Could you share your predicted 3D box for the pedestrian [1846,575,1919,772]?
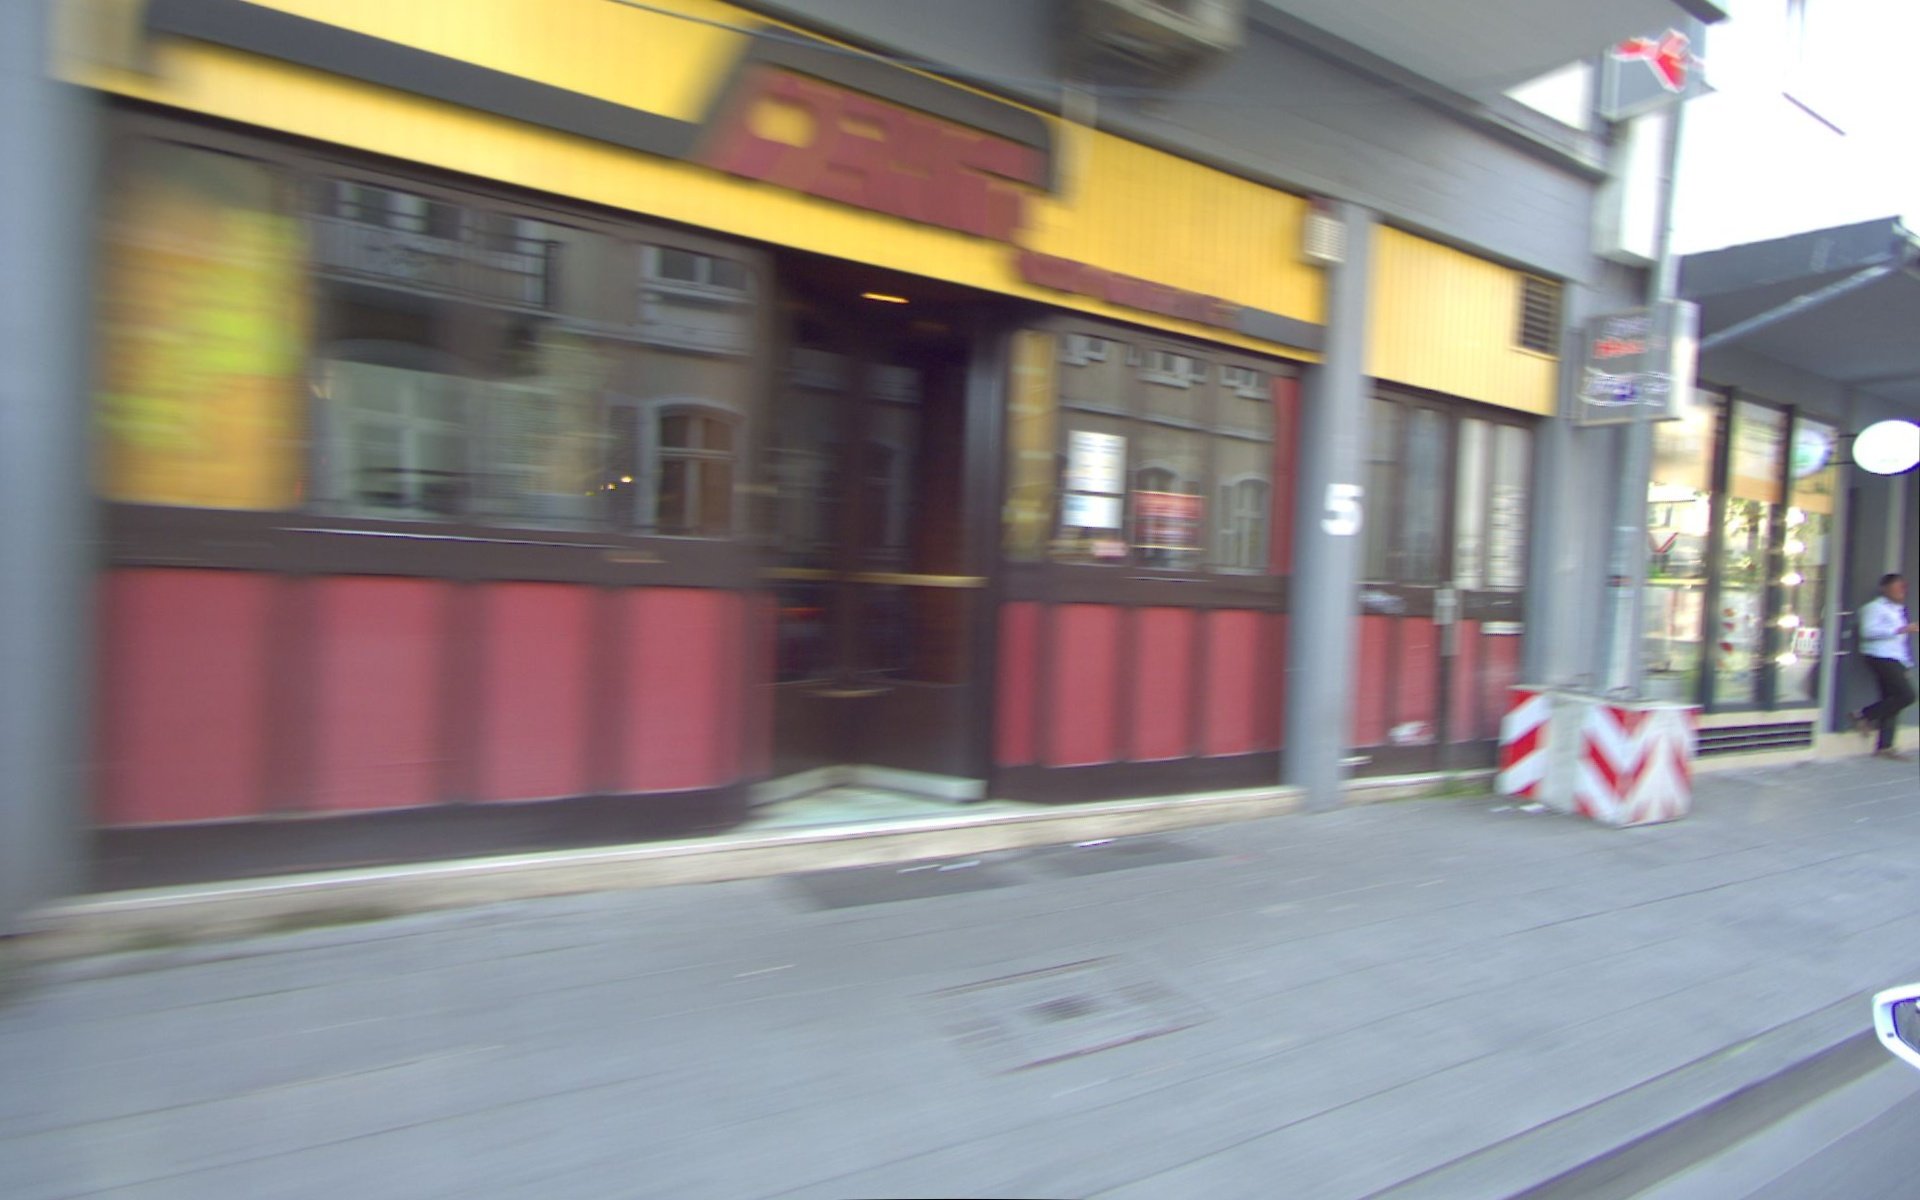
[{"bbox_3d":[9.179,0.698,9.886,0.557,1.859,0.526,1,1,-36],"label":"pedestrian"}]
